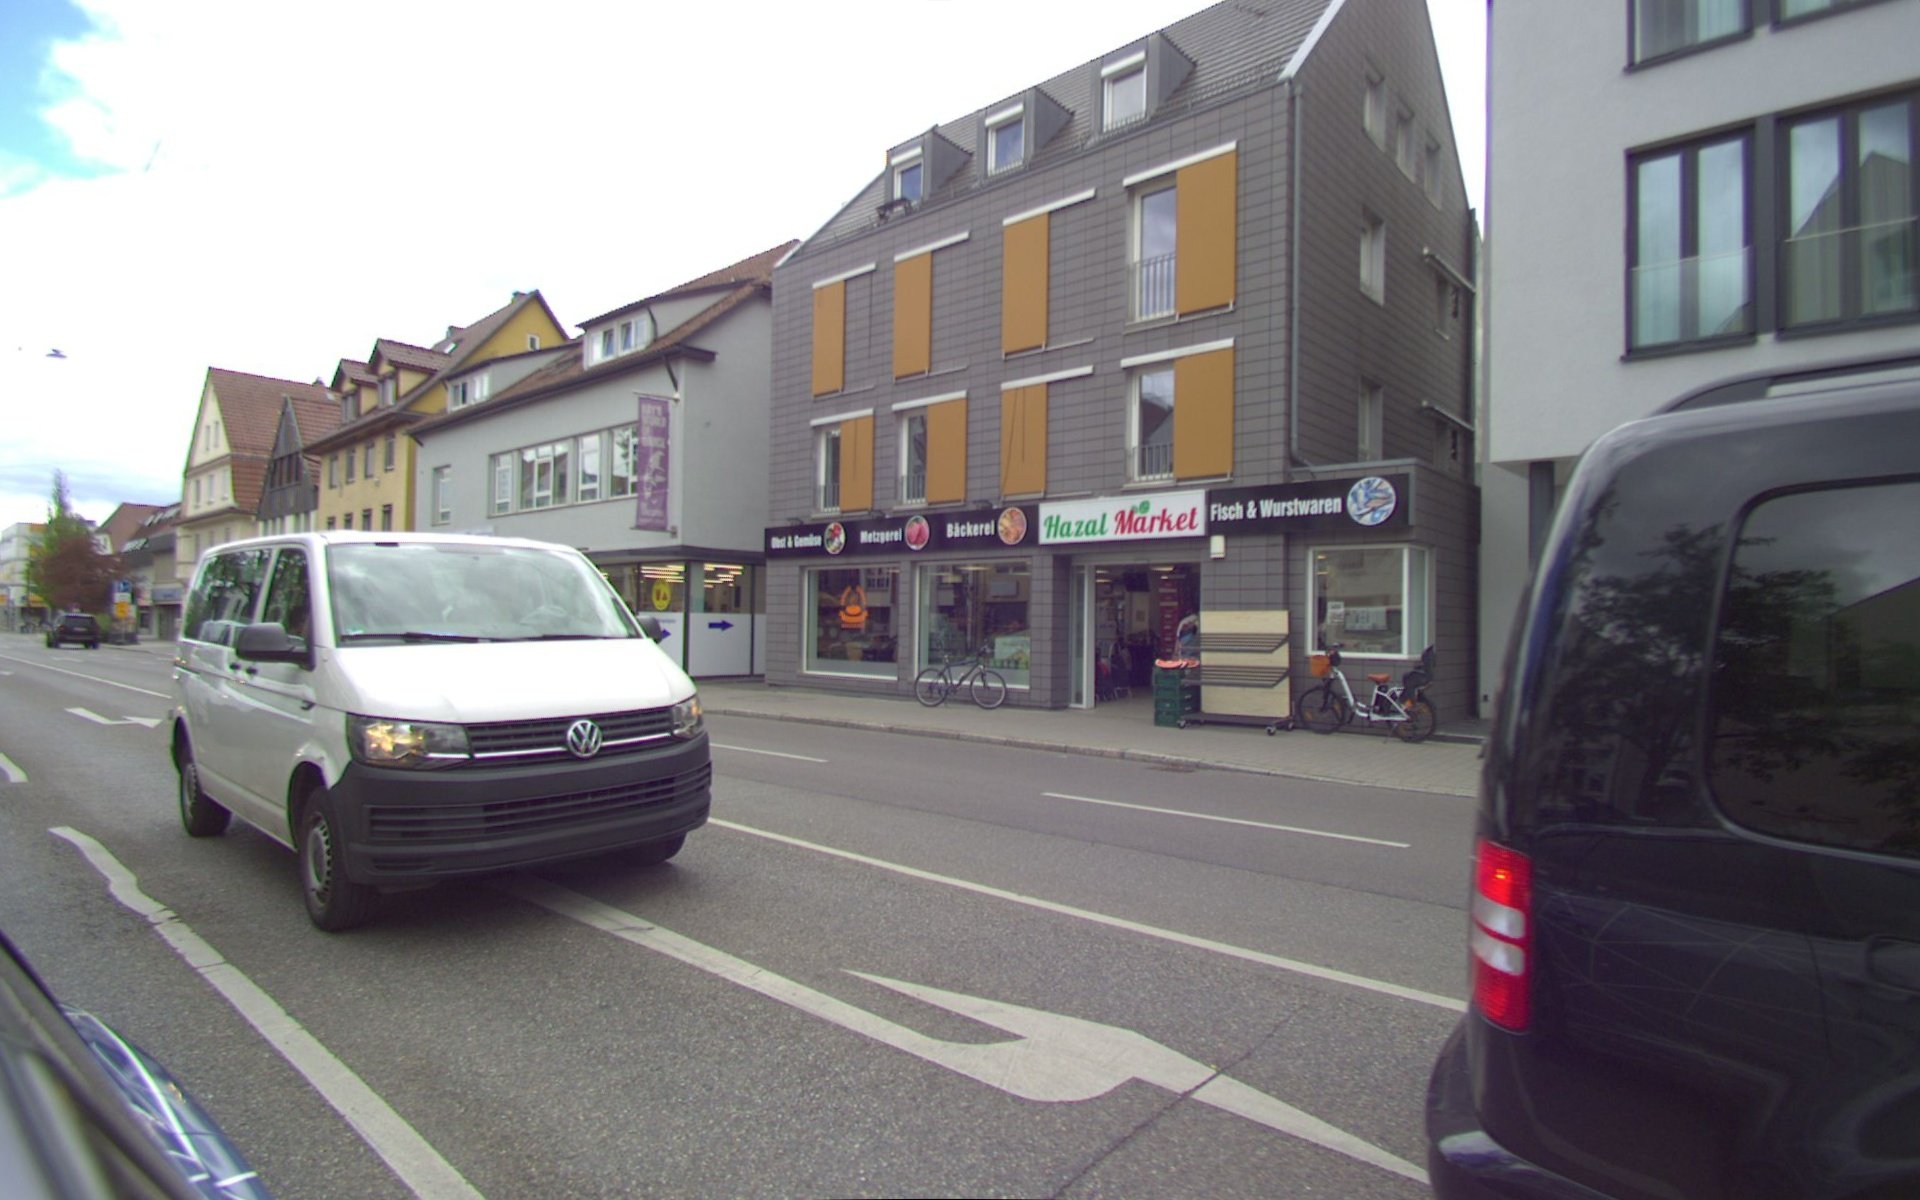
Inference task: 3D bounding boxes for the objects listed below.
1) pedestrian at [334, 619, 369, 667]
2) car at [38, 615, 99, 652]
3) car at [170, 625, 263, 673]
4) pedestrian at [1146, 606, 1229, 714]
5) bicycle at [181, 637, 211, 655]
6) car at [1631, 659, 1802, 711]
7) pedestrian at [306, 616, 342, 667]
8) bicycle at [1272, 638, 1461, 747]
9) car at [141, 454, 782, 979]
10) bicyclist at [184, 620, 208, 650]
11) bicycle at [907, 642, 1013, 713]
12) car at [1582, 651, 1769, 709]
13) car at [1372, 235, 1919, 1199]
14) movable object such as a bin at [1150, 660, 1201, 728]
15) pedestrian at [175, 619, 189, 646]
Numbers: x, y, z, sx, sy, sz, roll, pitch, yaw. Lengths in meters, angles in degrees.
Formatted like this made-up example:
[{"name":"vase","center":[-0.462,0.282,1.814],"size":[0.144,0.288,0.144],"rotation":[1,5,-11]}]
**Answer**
[{"name":"pedestrian","center":[-20.828,1.456,34.627],"size":[0.921,1.595,0.801],"rotation":[-2,-2,43]},{"name":"car","center":[-49.105,1.845,55.704],"size":[4.768,1.984,1.902],"rotation":[-1,-3,42]},{"name":"car","center":[-24.676,1.575,33.525],"size":[4.036,1.459,1.739],"rotation":[-1,-2,43]},{"name":"pedestrian","center":[3.628,0.936,16.137],"size":[0.971,1.656,0.878],"rotation":[-1,-2,42]},{"name":"bicycle","center":[-37.059,2.218,49.069],"size":[2.239,0.829,0.763],"rotation":[-1,-2,42]},{"name":"car","center":[19.044,2.110,25.594],"size":[1.376,1.189,3.178],"rotation":[3,-4,-35]},{"name":"pedestrian","center":[-21.344,1.392,33.967],"size":[0.921,1.674,0.801],"rotation":[-2,-2,43]},{"name":"bicycle","center":[5.045,1.107,12.681],"size":[2.118,1.241,0.576],"rotation":[-1,-2,42]},{"name":"car","center":[-3.393,0.483,6.296],"size":[4.839,2.029,1.972],"rotation":[-1,-1,43]},{"name":"bicyclist","center":[-37.055,1.707,49.094],"size":[0.752,1.434,0.763],"rotation":[-1,-2,42]},{"name":"bicycle","center":[-0.025,1.273,17.054],"size":[1.902,1.109,0.565],"rotation":[-2,-2,43]},{"name":"car","center":[16.683,1.853,23.699],"size":[1.378,1.189,3.355],"rotation":[5,-5,-43]},{"name":"car","center":[2.964,0.426,0.800],"size":[4.570,1.834,1.690],"rotation":[-1,0,42]},{"name":"movable object such as a bin","center":[3.065,1.317,14.373],"size":[0.506,0.906,0.545],"rotation":[-2,-2,41]},{"name":"pedestrian","center":[-55.692,2.316,72.469],"size":[0.678,1.917,0.664],"rotation":[-1,-2,42]}]
